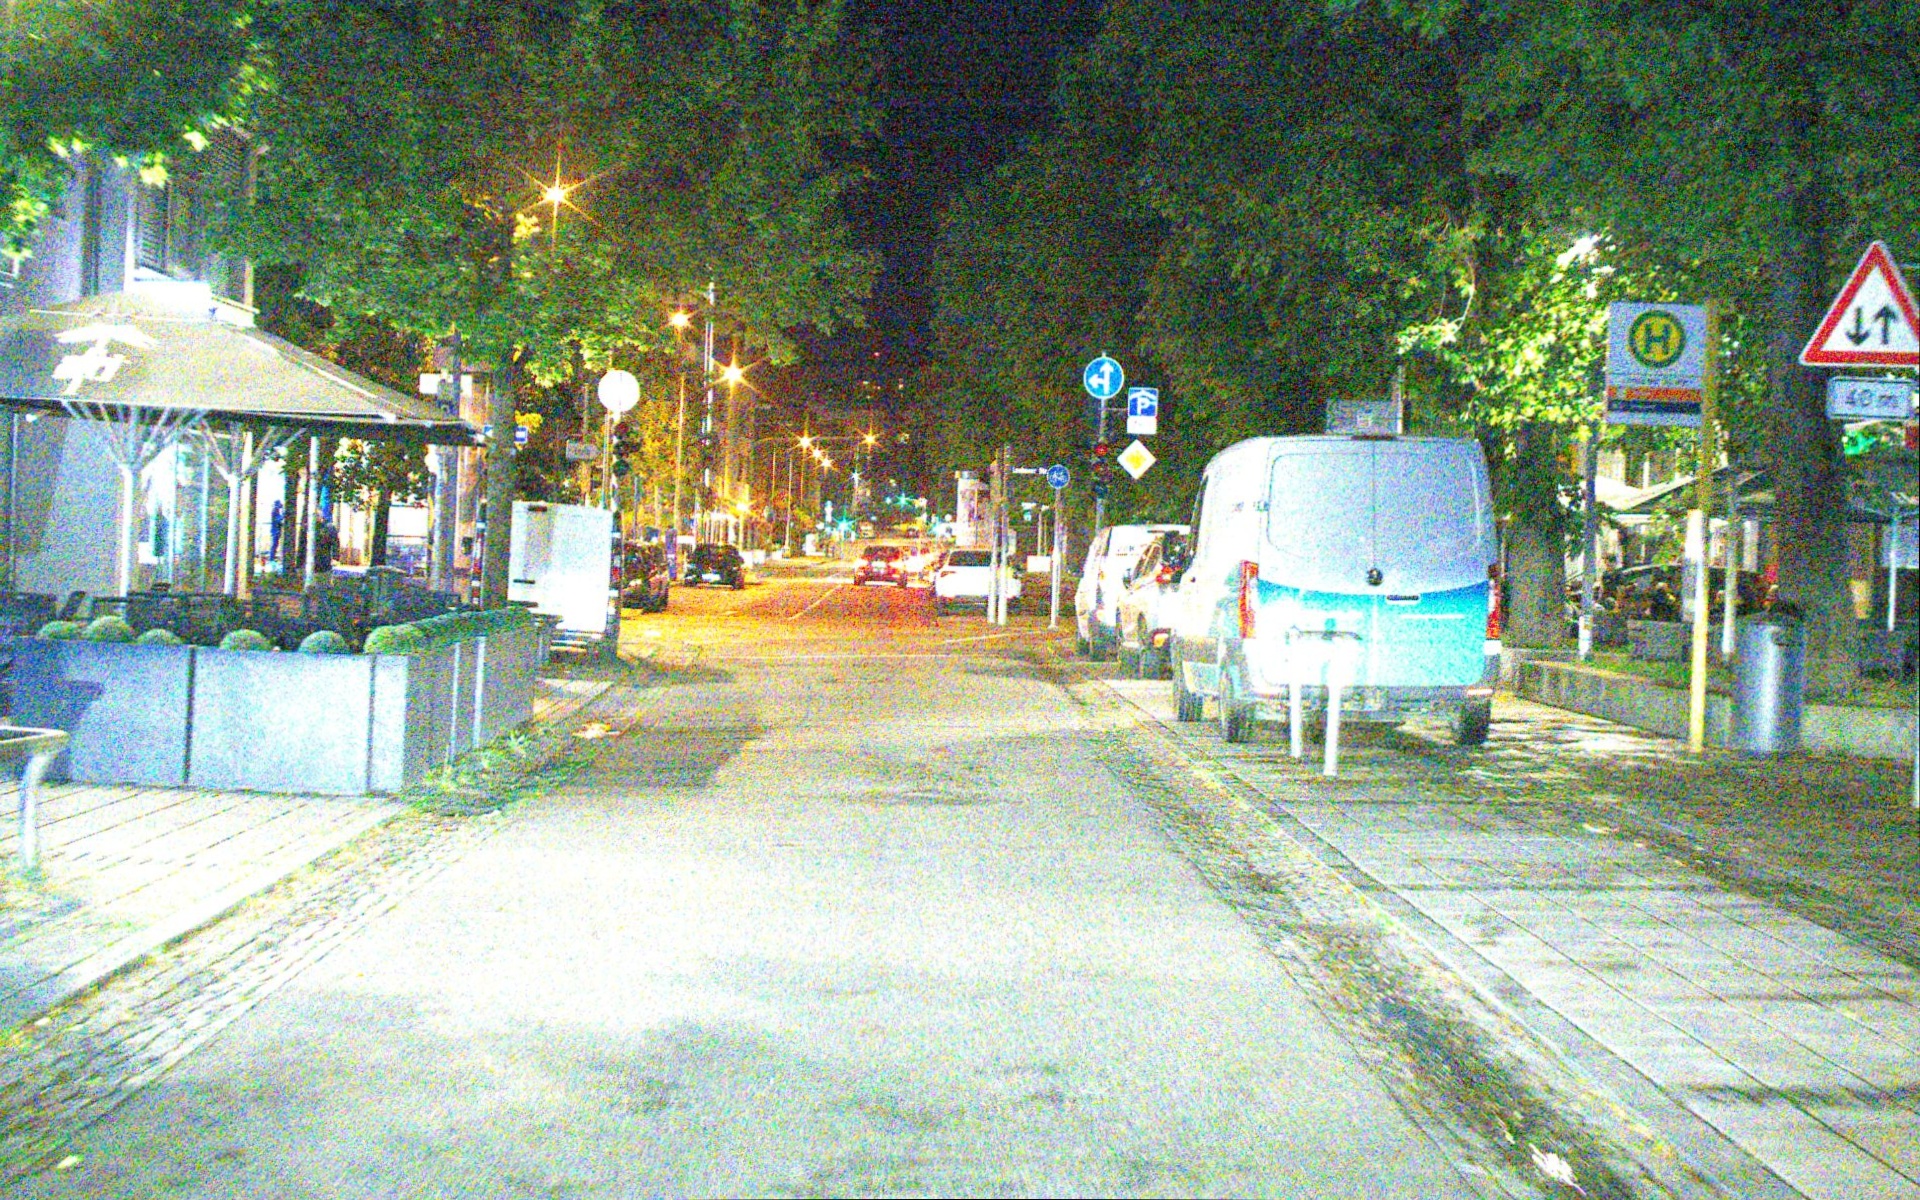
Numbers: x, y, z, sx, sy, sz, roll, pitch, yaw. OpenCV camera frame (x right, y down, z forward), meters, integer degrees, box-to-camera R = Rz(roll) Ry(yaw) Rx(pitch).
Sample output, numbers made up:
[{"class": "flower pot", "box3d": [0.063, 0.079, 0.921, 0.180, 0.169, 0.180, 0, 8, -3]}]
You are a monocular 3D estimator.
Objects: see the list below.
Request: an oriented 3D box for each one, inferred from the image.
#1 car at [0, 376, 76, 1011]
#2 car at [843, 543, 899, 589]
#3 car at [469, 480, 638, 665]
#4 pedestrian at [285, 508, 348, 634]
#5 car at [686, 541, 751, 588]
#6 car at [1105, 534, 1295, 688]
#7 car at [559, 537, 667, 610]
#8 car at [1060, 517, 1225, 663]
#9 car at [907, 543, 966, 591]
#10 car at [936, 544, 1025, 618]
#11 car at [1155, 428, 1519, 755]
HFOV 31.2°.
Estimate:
[{"class": "car", "box3d": [-3.828, 0.277, 8.668, 1.924, 1.958, 5.077, 4, 1, -2]}, {"class": "car", "box3d": [-3.232, -1.254, 125.797, 1.993, 1.637, 4.000, 1, 1, -1]}, {"class": "car", "box3d": [-5.107, -0.371, 43.493, 1.852, 2.080, 5.091, 4, 1, -6]}, {"class": "pedestrian", "box3d": [-8.963, -0.411, 47.891, 0.668, 1.713, 0.908, 2, 1, -1]}, {"class": "car", "box3d": [-7.872, -1.187, 112.314, 1.741, 1.408, 4.496, 3, 1, 0]}, {"class": "car", "box3d": [2.745, 0.087, 40.195, 1.684, 1.653, 4.297, 2, 1, -3]}, {"class": "car", "box3d": [-7.501, -0.592, 74.637, 1.806, 1.420, 4.921, 4, 1, -1]}, {"class": "car", "box3d": [2.405, -0.166, 46.297, 1.789, 1.816, 4.580, 2, 1, -2]}, {"class": "car", "box3d": [-0.711, -1.032, 106.493, 1.764, 1.409, 4.808, 2, 1, 0]}, {"class": "car", "box3d": [0.411, -0.422, 73.817, 1.818, 1.494, 4.000, 2, 1, -1]}, {"class": "car", "box3d": [2.883, -0.103, 27.544, 2.134, 2.318, 5.152, 2, 1, -2]}]
